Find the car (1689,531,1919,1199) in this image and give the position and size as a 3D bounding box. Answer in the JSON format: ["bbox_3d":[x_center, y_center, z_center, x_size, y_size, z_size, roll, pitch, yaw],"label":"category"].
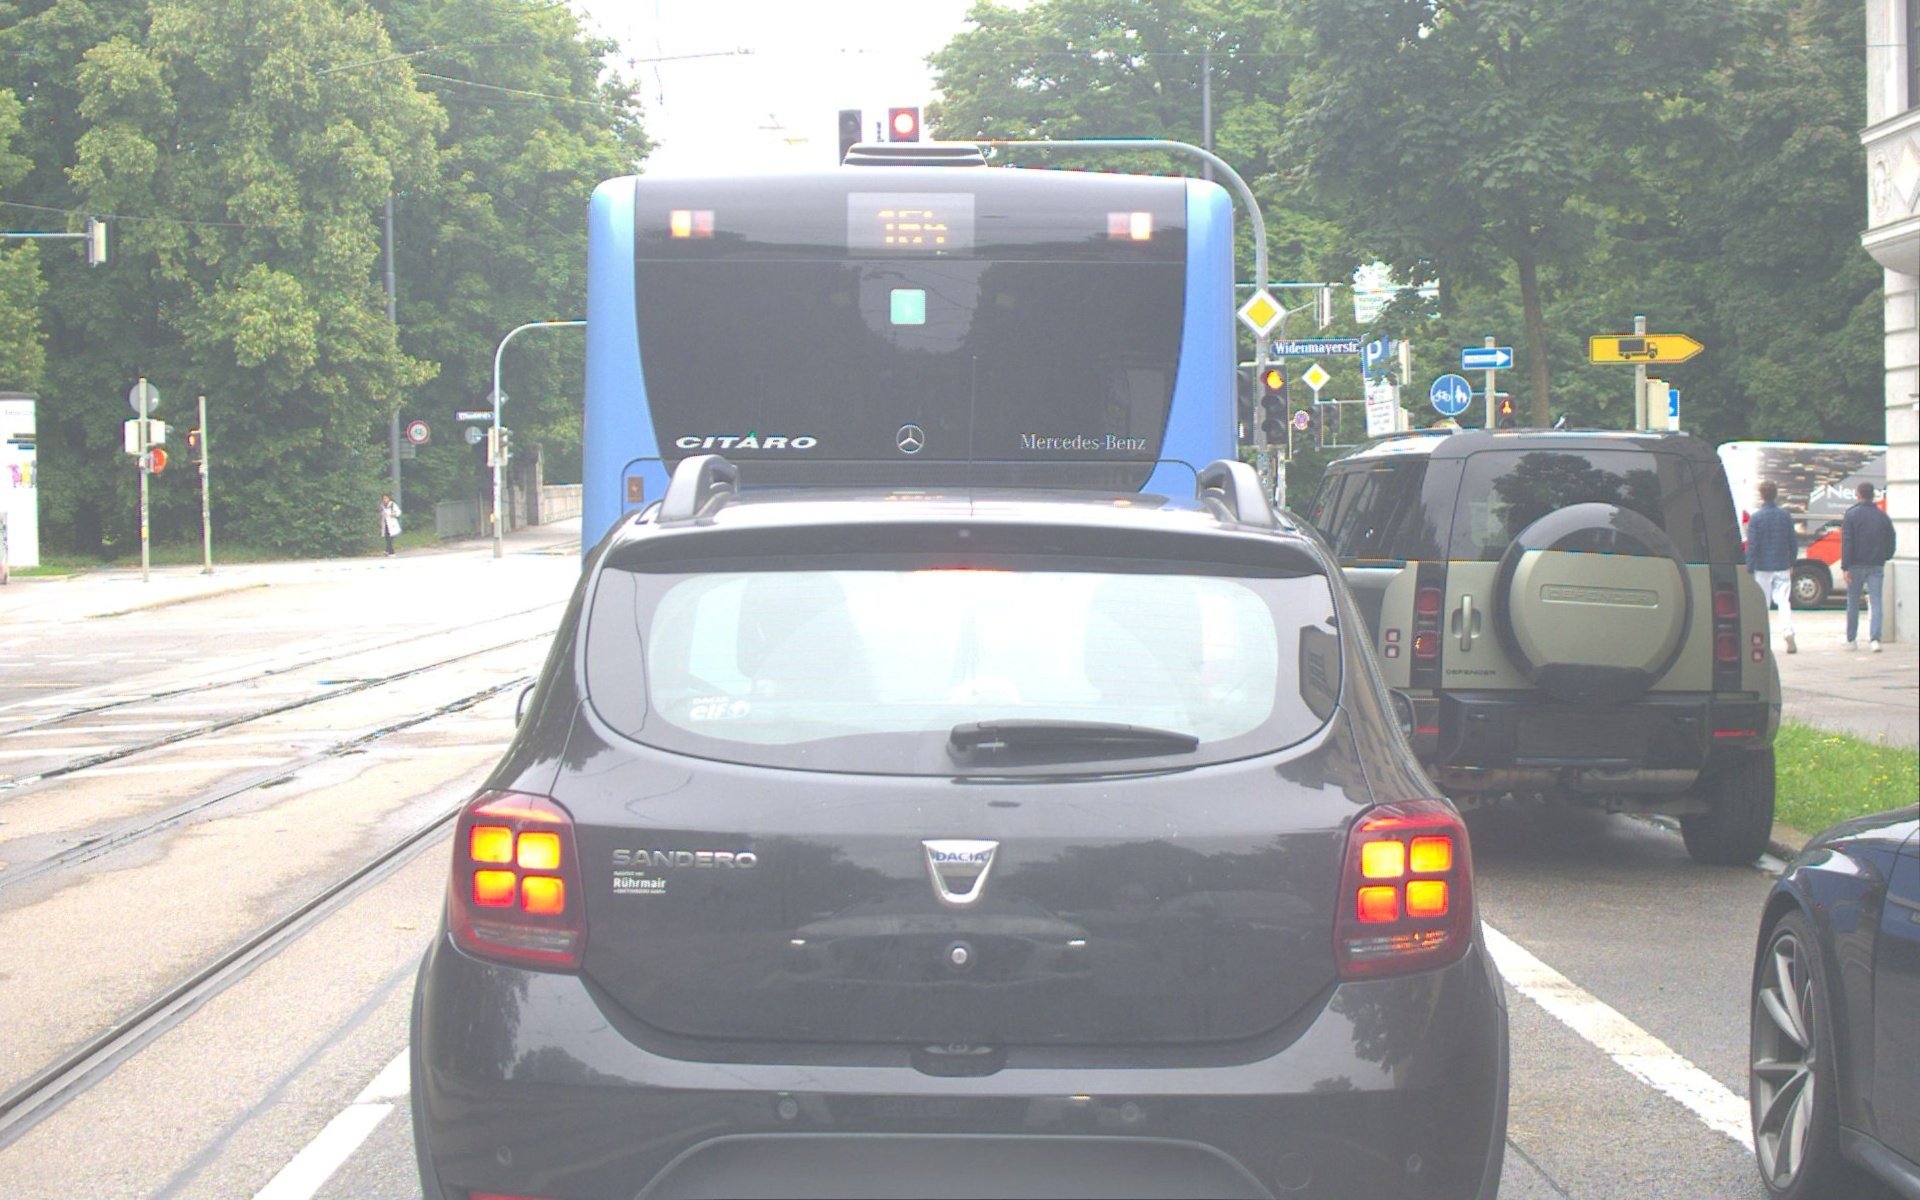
[{"bbox_3d":[2.637,0.610,5.810,1.716,1.421,4.603,1,1,-1],"label":"car"}]

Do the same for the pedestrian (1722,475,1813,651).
[{"bbox_3d":[8.500,-0.391,36.206,0.705,1.810,0.870,1,1,-1],"label":"pedestrian"}]

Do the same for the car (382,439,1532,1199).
[{"bbox_3d":[-0.044,0.532,6.613,1.600,1.551,3.525,1,1,-1],"label":"car"}]

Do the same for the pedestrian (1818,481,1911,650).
[{"bbox_3d":[9.416,-0.358,35.803,0.705,1.726,0.843,1,1,-1],"label":"pedestrian"}]

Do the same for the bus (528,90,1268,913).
[{"bbox_3d":[-0.371,-0.423,16.190,2.678,2.987,6.962,1,1,-2],"label":"bus"}]

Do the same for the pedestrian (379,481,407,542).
[{"bbox_3d":[-13.972,-2.171,84.657,0.532,1.496,0.588,1,1,4],"label":"pedestrian"}]

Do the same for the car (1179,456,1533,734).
[{"bbox_3d":[2.444,-0.068,22.188,1.714,1.586,4.327,1,1,-1],"label":"car"}]

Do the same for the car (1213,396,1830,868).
[{"bbox_3d":[2.480,0.088,16.481,1.914,1.899,4.809,1,1,-3],"label":"car"}]

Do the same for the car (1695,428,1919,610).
[{"bbox_3d":[13.937,-1.182,51.404,5.295,2.603,2.231,1,1,-3],"label":"car"}]
